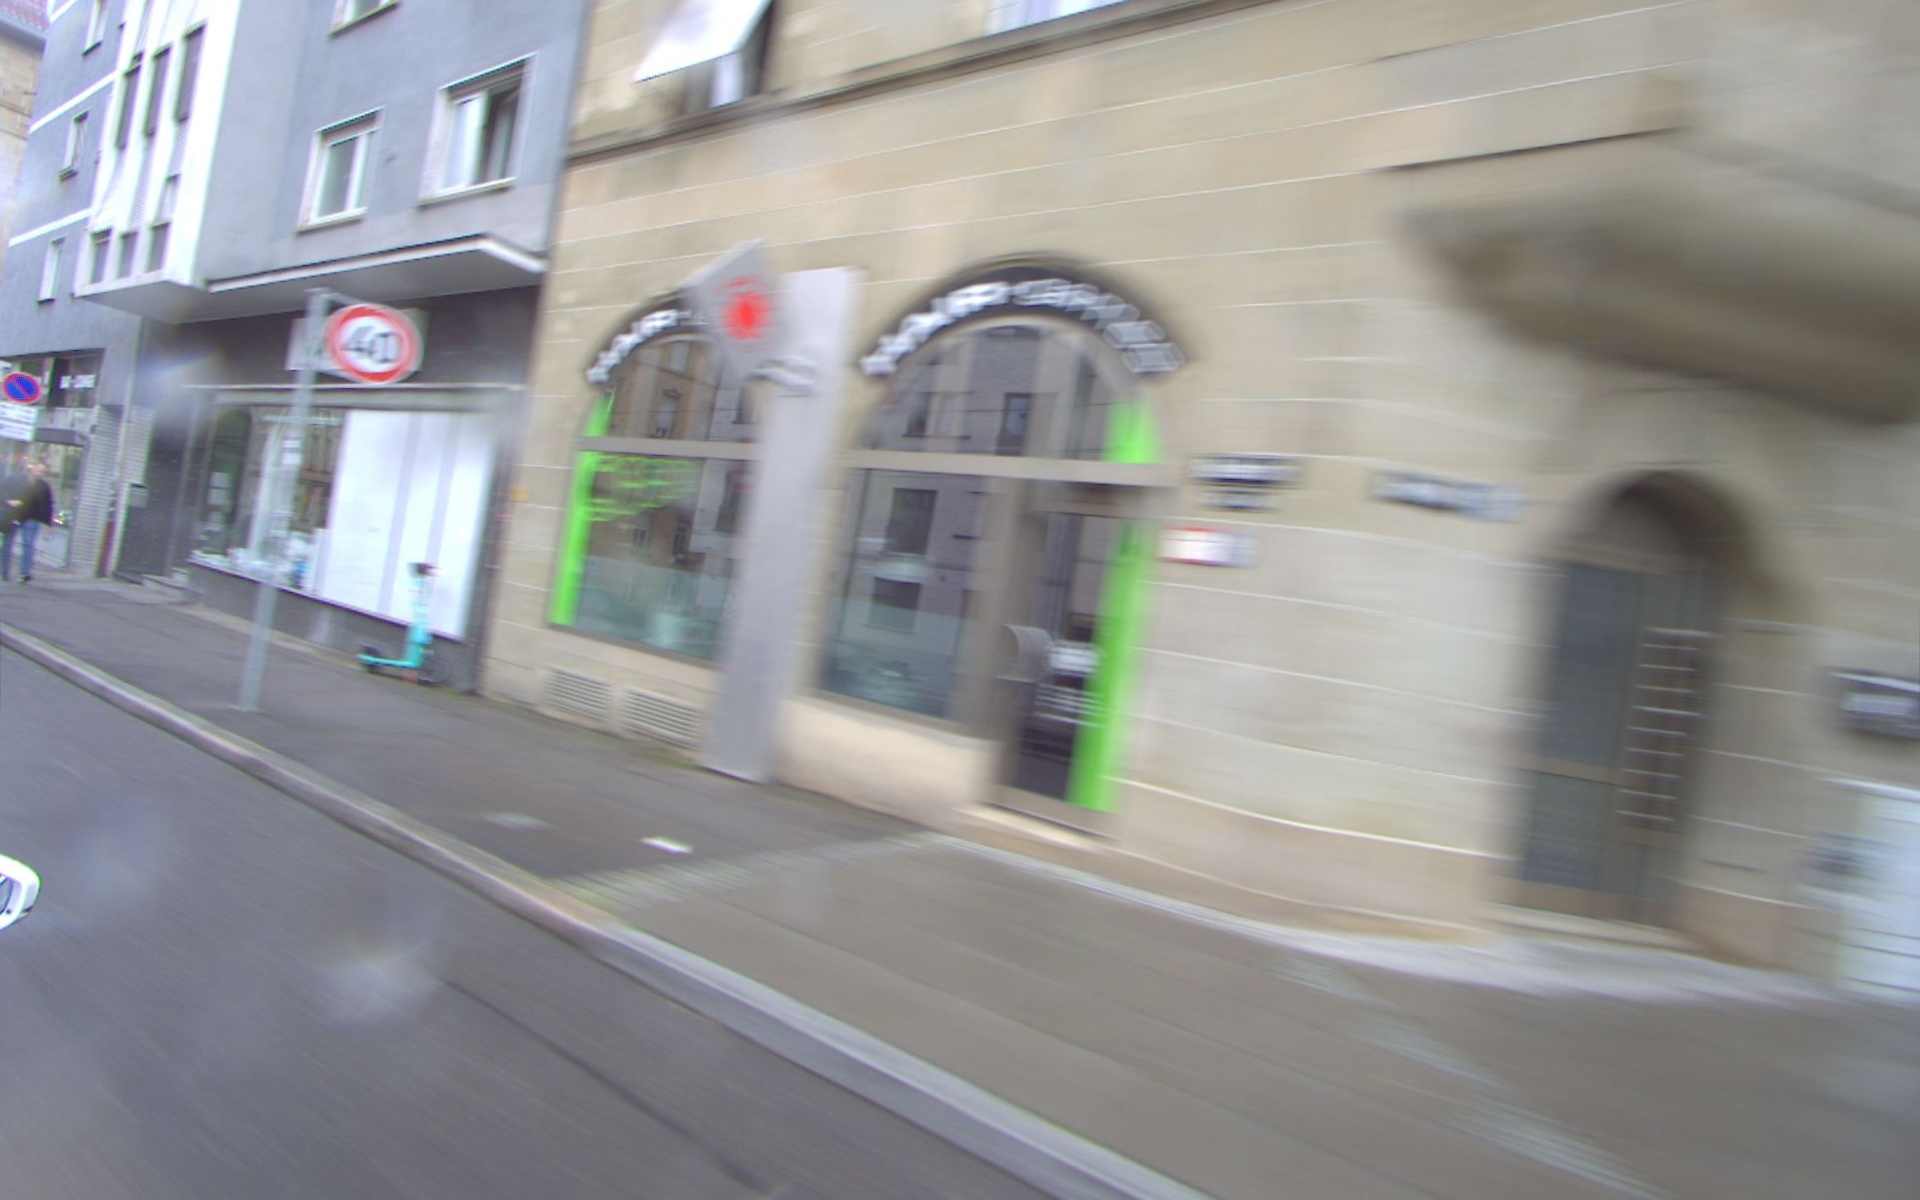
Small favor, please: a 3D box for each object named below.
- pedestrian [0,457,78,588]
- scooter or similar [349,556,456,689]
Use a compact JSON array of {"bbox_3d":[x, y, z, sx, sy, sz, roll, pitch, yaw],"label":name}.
[{"bbox_3d":[-14.058,-1.176,15.020,0.999,1.790,0.946,8,-1,34],"label":"pedestrian"},{"bbox_3d":[-5.807,0.227,10.469,1.089,1.230,0.395,8,-1,35],"label":"scooter or similar"}]
